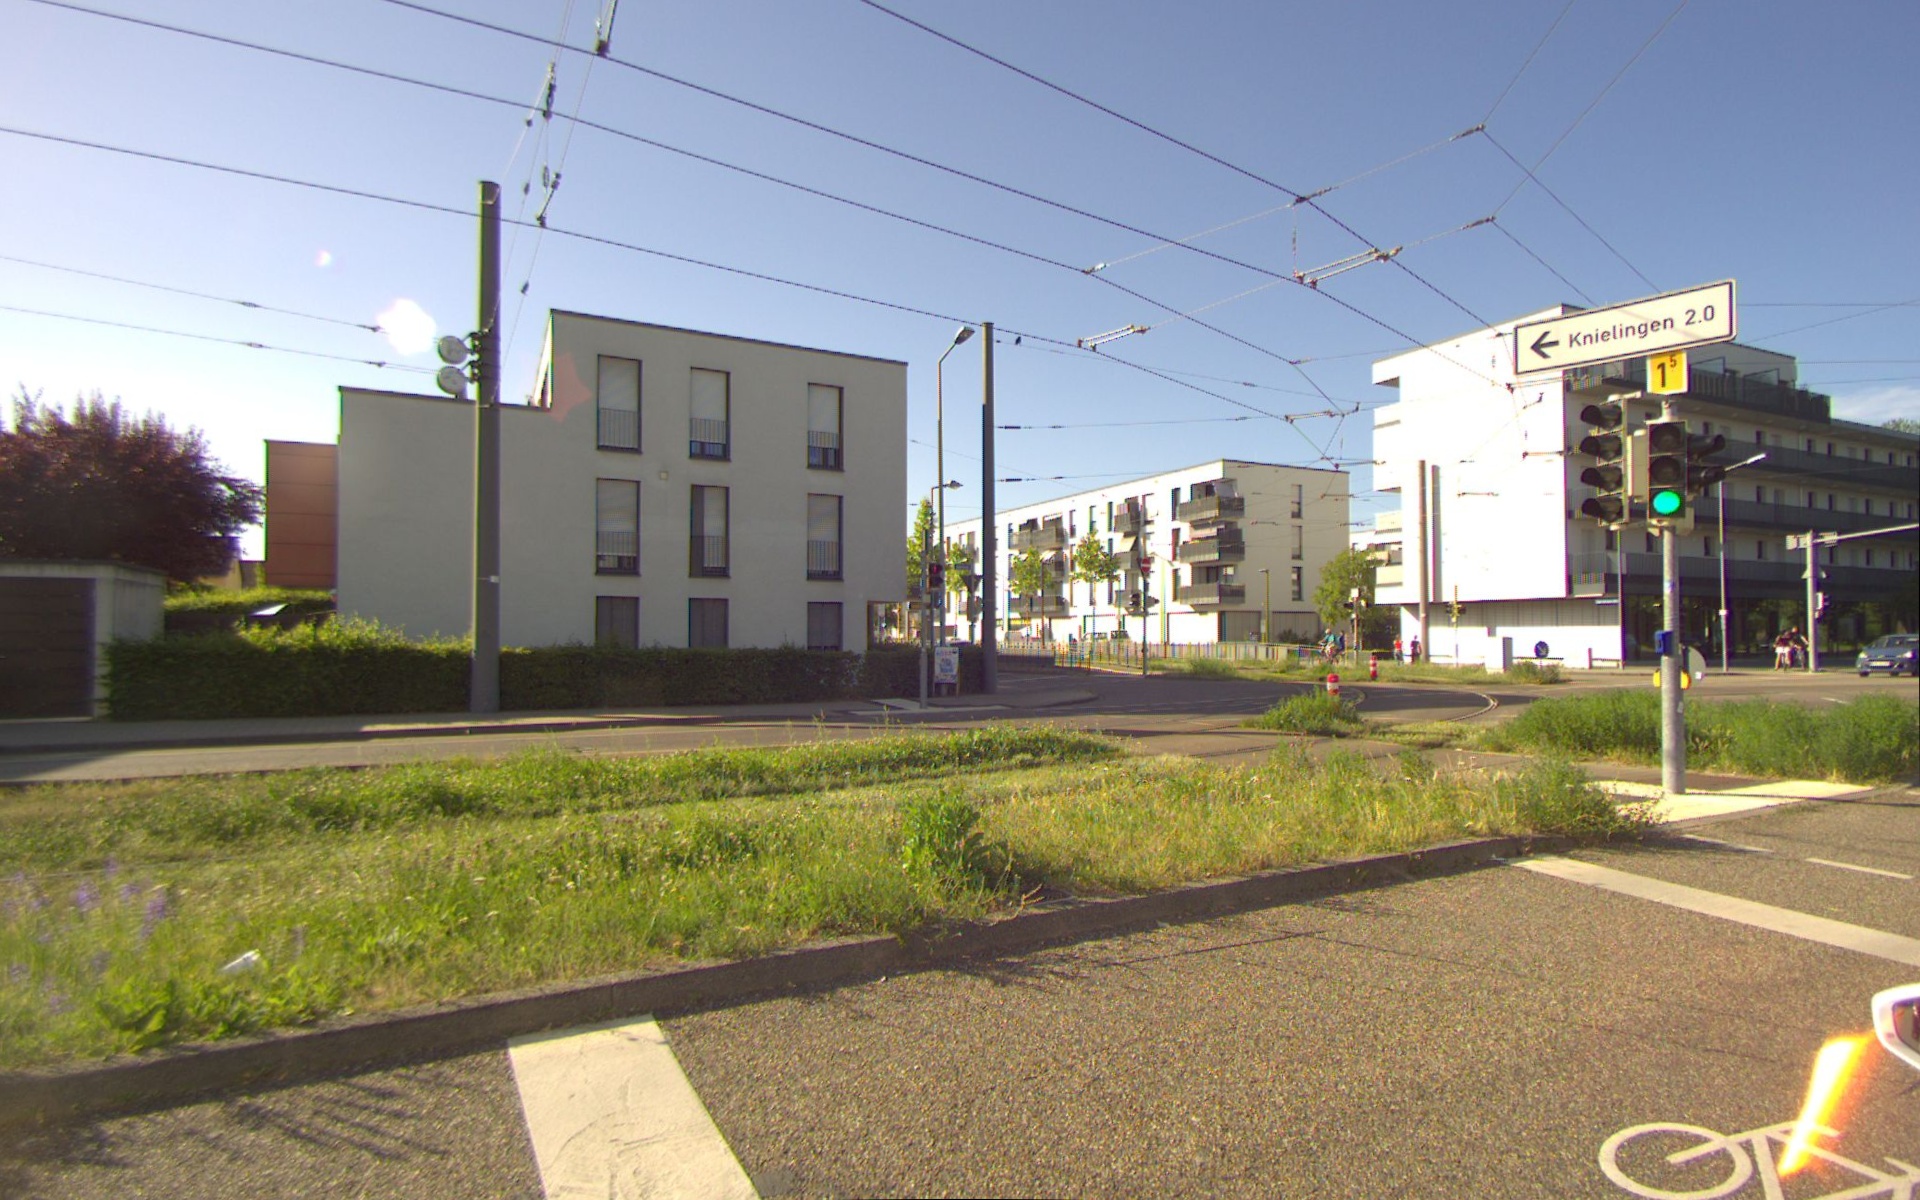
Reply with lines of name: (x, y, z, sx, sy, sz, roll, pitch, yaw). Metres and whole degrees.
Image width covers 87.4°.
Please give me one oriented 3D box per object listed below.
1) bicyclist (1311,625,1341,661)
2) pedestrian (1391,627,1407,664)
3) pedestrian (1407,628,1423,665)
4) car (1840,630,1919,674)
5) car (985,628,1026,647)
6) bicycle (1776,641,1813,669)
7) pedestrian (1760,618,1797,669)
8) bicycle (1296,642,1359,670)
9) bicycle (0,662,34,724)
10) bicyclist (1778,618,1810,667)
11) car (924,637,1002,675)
bicyclist: (16.678, 1.964, 45.800, 0.899, 1.613, 0.891, 1, -2, -19)
pedestrian: (19.888, 2.068, 45.498, 0.498, 1.644, 0.454, 1, 0, -30)
pedestrian: (20.420, 2.077, 45.065, 0.498, 1.644, 0.454, 1, 0, -30)
car: (33.352, 1.808, 35.364, 4.385, 1.475, 1.693, 1, -2, -21)
car: (3.948, 3.283, 88.379, 1.973, 1.574, 3.975, 1, 0, -25)
bicycle: (35.265, 2.296, 42.463, 0.731, 1.159, 1.642, -1, -2, 24)
pedestrian: (33.918, 1.800, 41.623, 0.751, 2.040, 0.972, 1, -2, -30)
bicycle: (16.773, 2.539, 45.818, 2.782, 1.214, 0.900, 1, -2, -20)
bicycle: (-15.358, 1.382, 14.743, 2.459, 0.904, 0.894, 1, -3, -35)
bicyclist: (35.264, 1.805, 42.491, 0.796, 2.040, 0.795, -1, -2, 23)
car: (0.080, 2.555, 46.492, 1.984, 1.687, 3.972, 1, -2, -28)
